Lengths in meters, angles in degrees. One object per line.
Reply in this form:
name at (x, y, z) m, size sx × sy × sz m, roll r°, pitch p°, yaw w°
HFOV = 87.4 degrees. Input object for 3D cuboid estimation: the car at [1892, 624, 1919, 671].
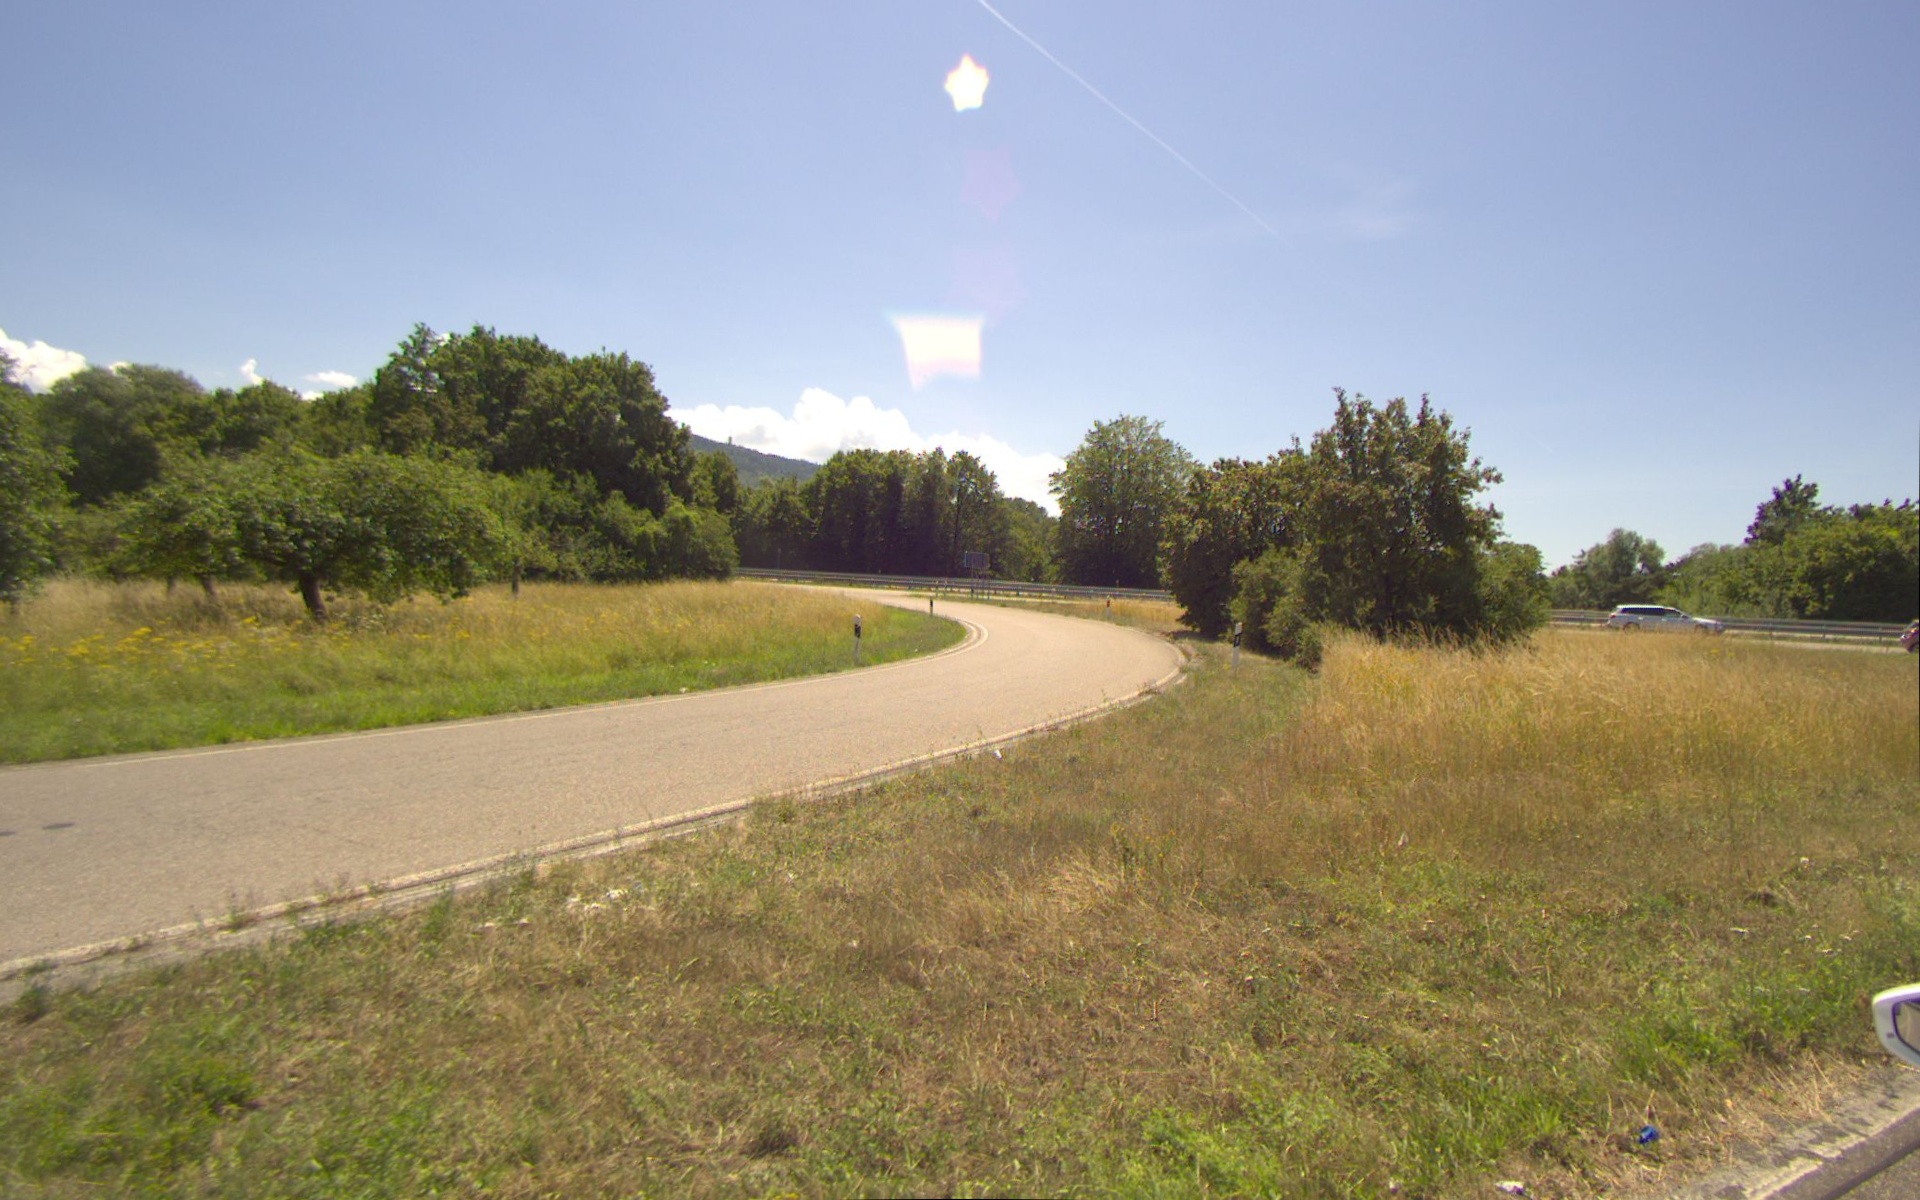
car at (40.216, 2.075, 39.885) m, size 4.459 × 1.813 × 1.991 m, roll 5°, pitch 2°, yaw 39°

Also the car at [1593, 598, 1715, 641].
car at (33.900, 0.913, 49.110) m, size 4.712 × 1.813 × 1.991 m, roll 3°, pitch 1°, yaw 39°
